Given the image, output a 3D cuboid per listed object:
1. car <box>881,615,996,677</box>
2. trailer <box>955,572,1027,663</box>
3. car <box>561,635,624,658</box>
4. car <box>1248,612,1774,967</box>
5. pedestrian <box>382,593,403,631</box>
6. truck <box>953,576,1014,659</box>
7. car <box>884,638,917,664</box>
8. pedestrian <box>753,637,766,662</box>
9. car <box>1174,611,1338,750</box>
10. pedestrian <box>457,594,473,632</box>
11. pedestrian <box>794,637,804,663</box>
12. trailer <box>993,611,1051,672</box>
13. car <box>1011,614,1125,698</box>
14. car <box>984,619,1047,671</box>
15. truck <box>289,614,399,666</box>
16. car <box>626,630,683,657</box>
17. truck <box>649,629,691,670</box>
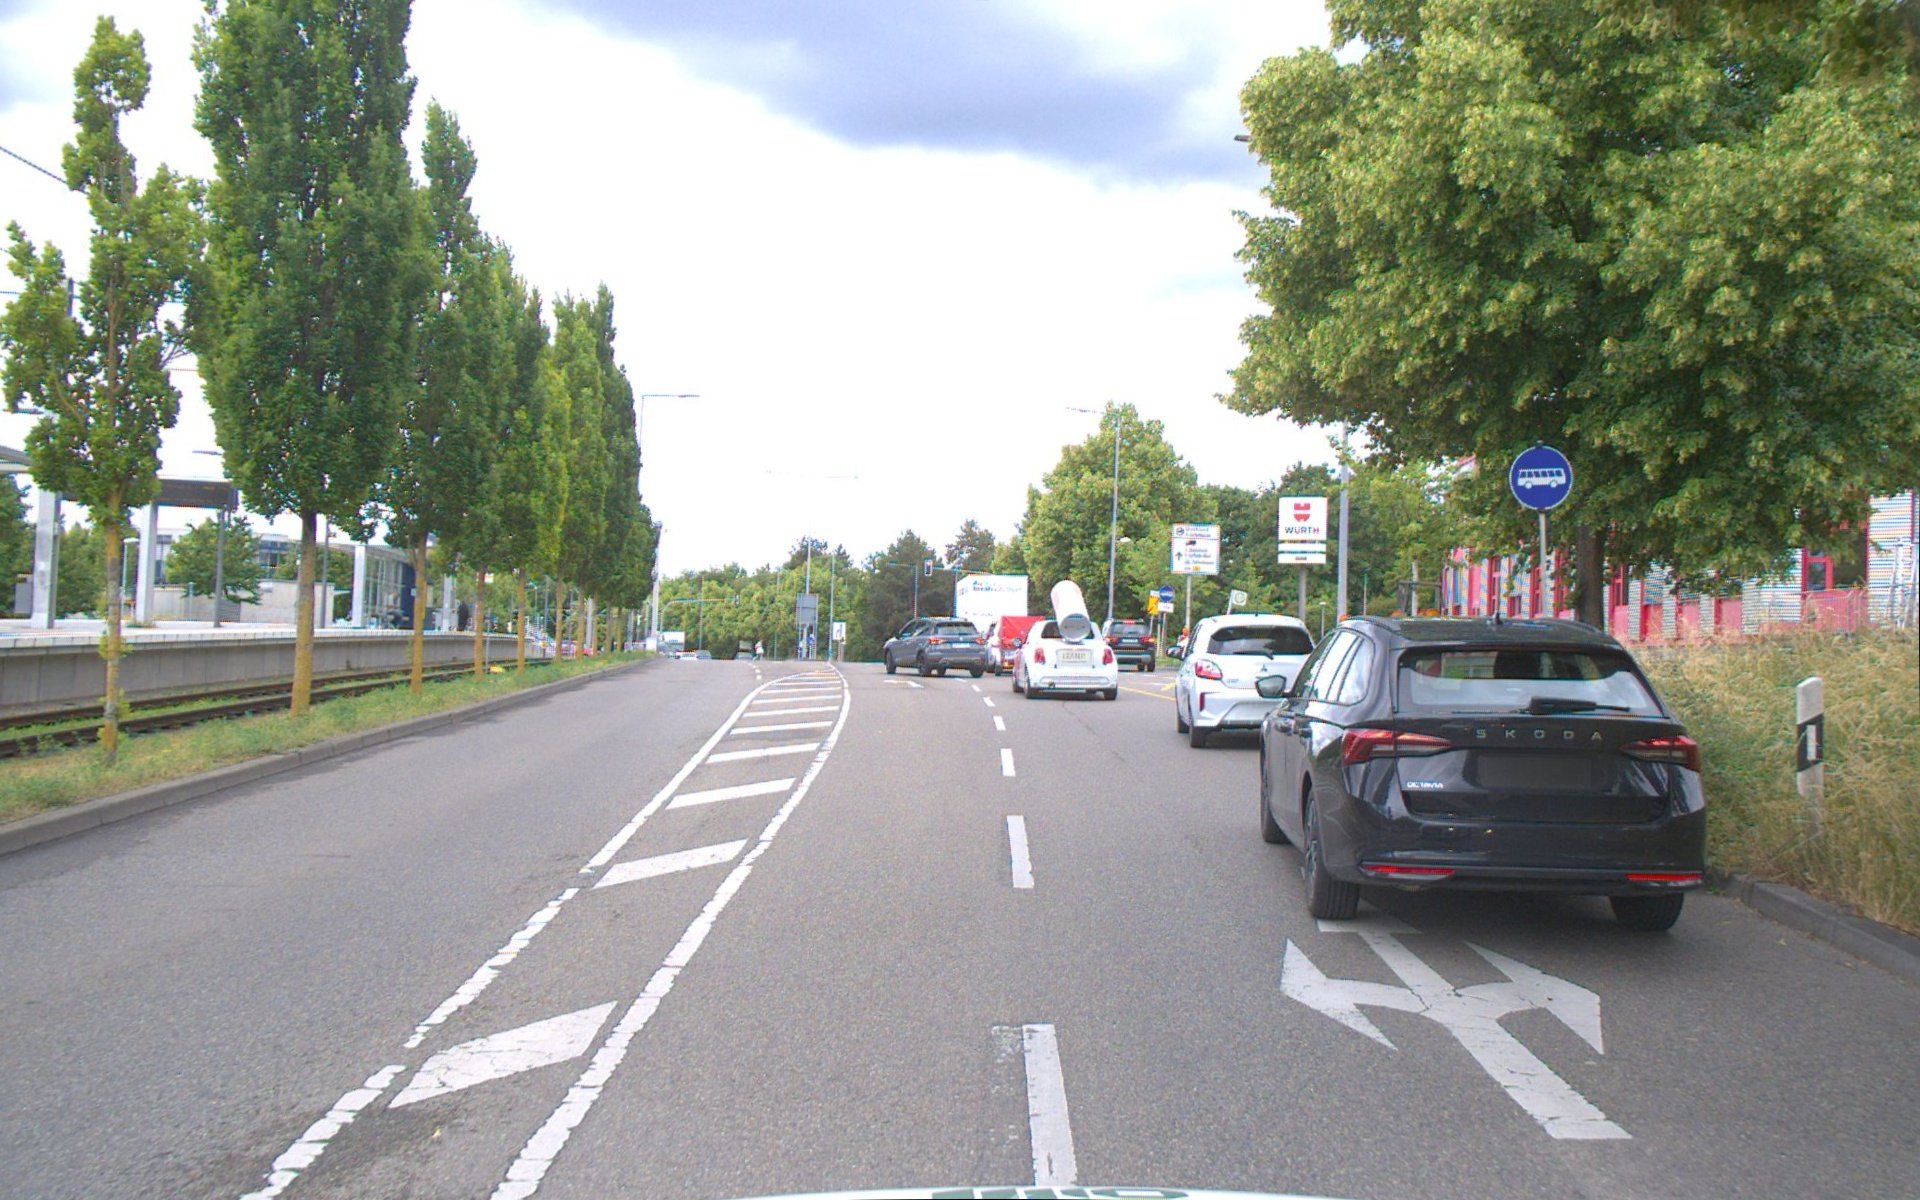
[{"bbox_3d":[-0.624,1.185,43.961,1.676,1.512,3.971,1,0,-24],"label":"car"},{"bbox_3d":[1.281,0.768,73.127,2.515,3.770,7.757,1,-1,-4],"label":"trailer"},{"bbox_3d":[-25.768,3.277,116.107,3.989,1.514,1.708,0,-3,20],"label":"car"},{"bbox_3d":[2.686,0.816,9.108,1.797,1.458,4.281,1,-1,5],"label":"car"},{"bbox_3d":[-19.758,0.420,57.575,0.599,1.291,0.658,0,0,-10],"label":"pedestrian"},{"bbox_3d":[1.062,0.820,77.014,2.520,3.771,4.102,1,-1,-4],"label":"truck"},{"bbox_3d":[-3.455,2.958,94.996,1.688,1.447,4.351,1,-3,-5],"label":"car"},{"bbox_3d":[-12.707,3.140,104.868,0.847,1.588,0.517,1,0,-6],"label":"pedestrian"},{"bbox_3d":[3.454,0.886,19.818,1.589,1.483,3.691,1,0,5],"label":"car"},{"bbox_3d":[-24.161,0.643,80.764,0.561,1.860,0.792,1,-3,-8],"label":"pedestrian"},{"bbox_3d":[-10.390,3.220,106.751,0.575,1.650,0.422,1,0,-6],"label":"pedestrian"},{"bbox_3d":[1.676,1.131,45.465,1.380,1.622,3.302,1,-1,-1],"label":"trailer"},{"bbox_3d":[1.992,1.043,31.420,1.684,1.483,3.693,1,-2,-4],"label":"car"},{"bbox_3d":[1.604,1.346,49.353,1.637,1.473,4.488,1,-1,-1],"label":"car"},{"bbox_3d":[-45.443,2.955,122.151,7.092,3.661,2.691,1,0,-1],"label":"truck"},{"bbox_3d":[-20.473,2.957,110.957,3.628,1.601,1.726,3,-3,-10],"label":"car"},{"bbox_3d":[-29.039,4.916,165.294,2.619,3.713,9.451,3,-1,-19],"label":"truck"}]
